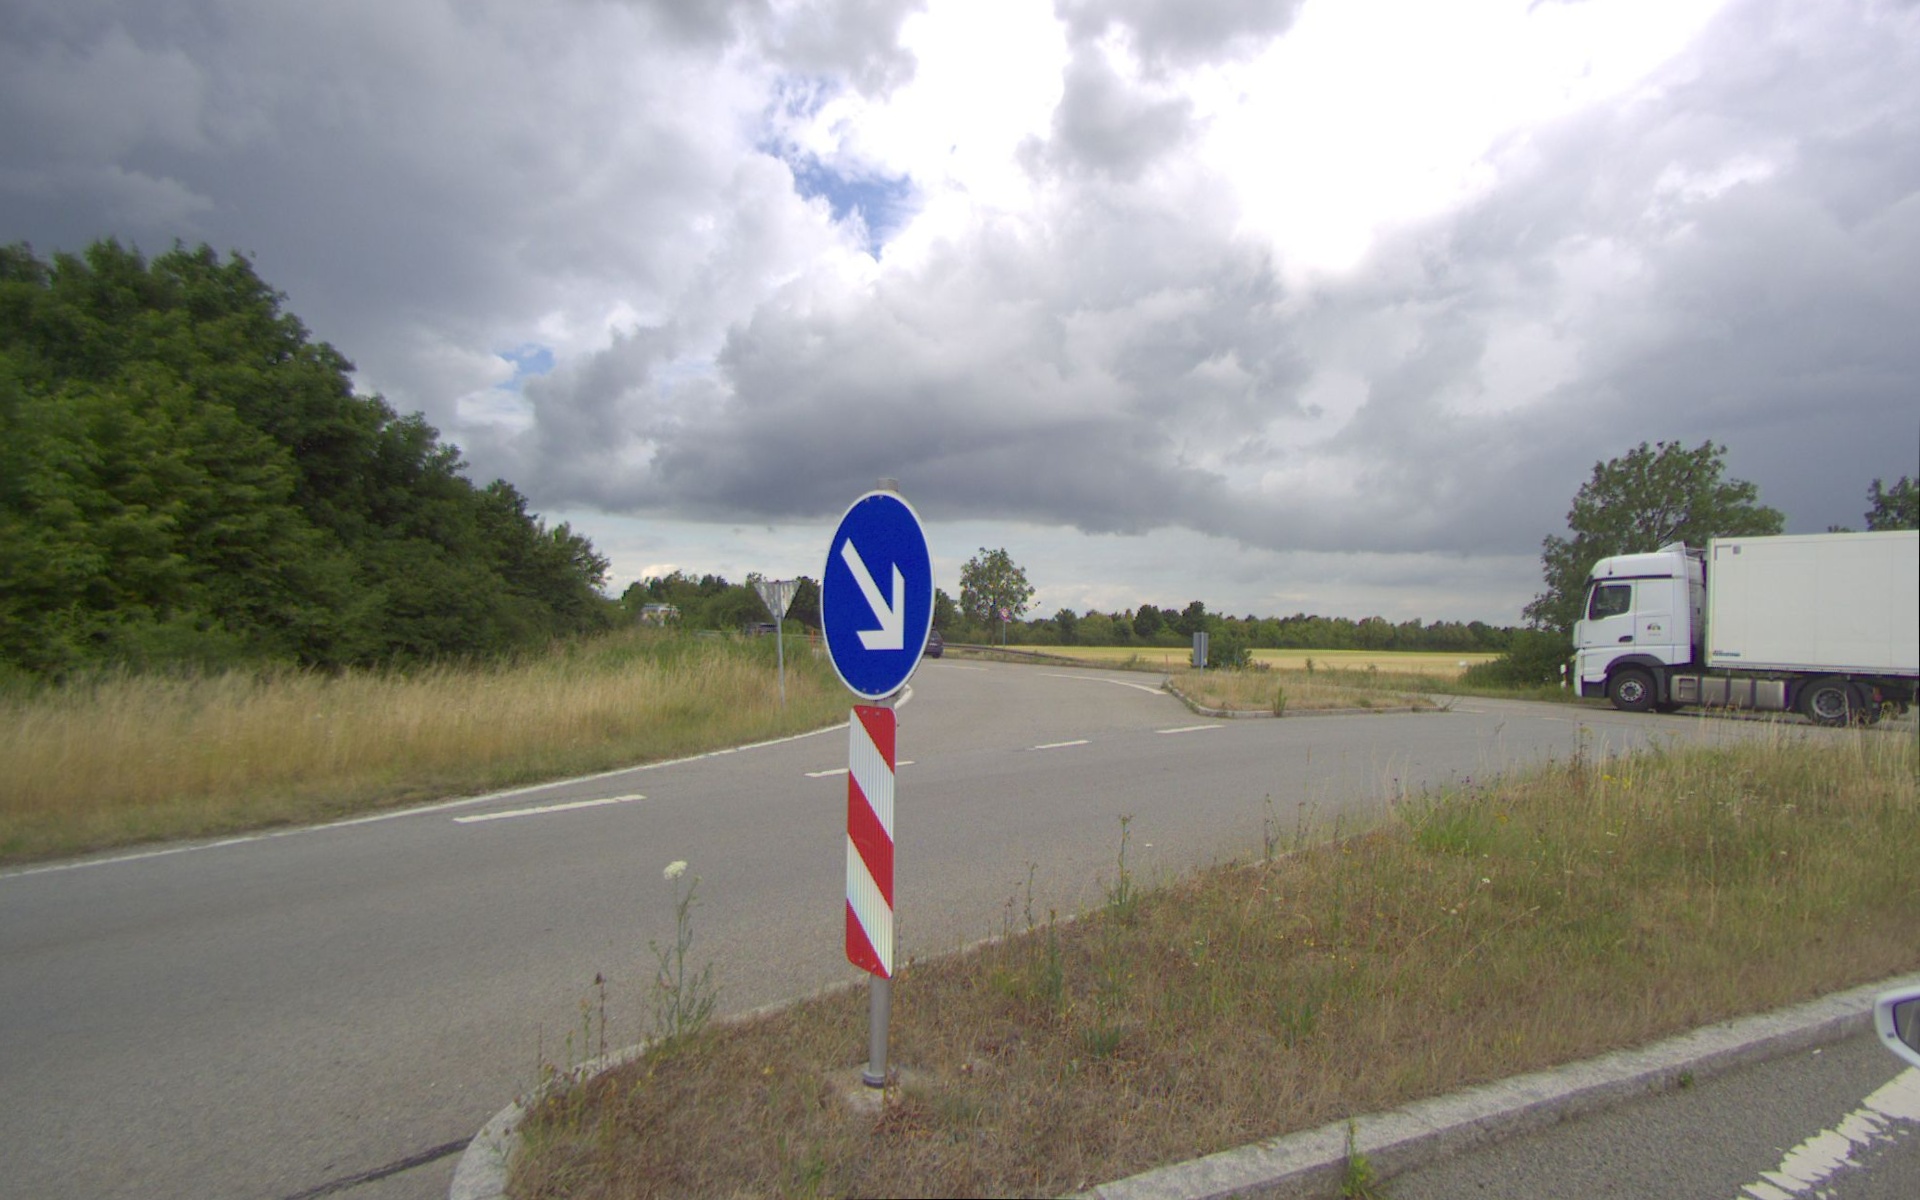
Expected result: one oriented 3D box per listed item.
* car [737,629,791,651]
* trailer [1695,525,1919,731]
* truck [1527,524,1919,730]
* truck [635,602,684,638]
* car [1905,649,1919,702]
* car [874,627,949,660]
[{"bbox_3d":[-12.704,2.595,64.939,1.666,1.362,4.310,2,-2,-37],"label":"car"},{"bbox_3d":[22.026,0.612,18.222,3.100,4.066,13.743,4,-3,-36],"label":"trailer"},{"bbox_3d":[17.934,0.655,23.752,3.100,4.066,7.231,4,-3,-36],"label":"truck"},{"bbox_3d":[-24.338,1.652,81.214,2.045,2.739,5.987,1,-2,-34],"label":"truck"},{"bbox_3d":[37.767,2.842,36.517,2.295,2.040,4.917,0,-2,3],"label":"car"},{"bbox_3d":[-2.518,2.209,51.641,1.980,1.622,4.184,1,-3,-34],"label":"car"}]
